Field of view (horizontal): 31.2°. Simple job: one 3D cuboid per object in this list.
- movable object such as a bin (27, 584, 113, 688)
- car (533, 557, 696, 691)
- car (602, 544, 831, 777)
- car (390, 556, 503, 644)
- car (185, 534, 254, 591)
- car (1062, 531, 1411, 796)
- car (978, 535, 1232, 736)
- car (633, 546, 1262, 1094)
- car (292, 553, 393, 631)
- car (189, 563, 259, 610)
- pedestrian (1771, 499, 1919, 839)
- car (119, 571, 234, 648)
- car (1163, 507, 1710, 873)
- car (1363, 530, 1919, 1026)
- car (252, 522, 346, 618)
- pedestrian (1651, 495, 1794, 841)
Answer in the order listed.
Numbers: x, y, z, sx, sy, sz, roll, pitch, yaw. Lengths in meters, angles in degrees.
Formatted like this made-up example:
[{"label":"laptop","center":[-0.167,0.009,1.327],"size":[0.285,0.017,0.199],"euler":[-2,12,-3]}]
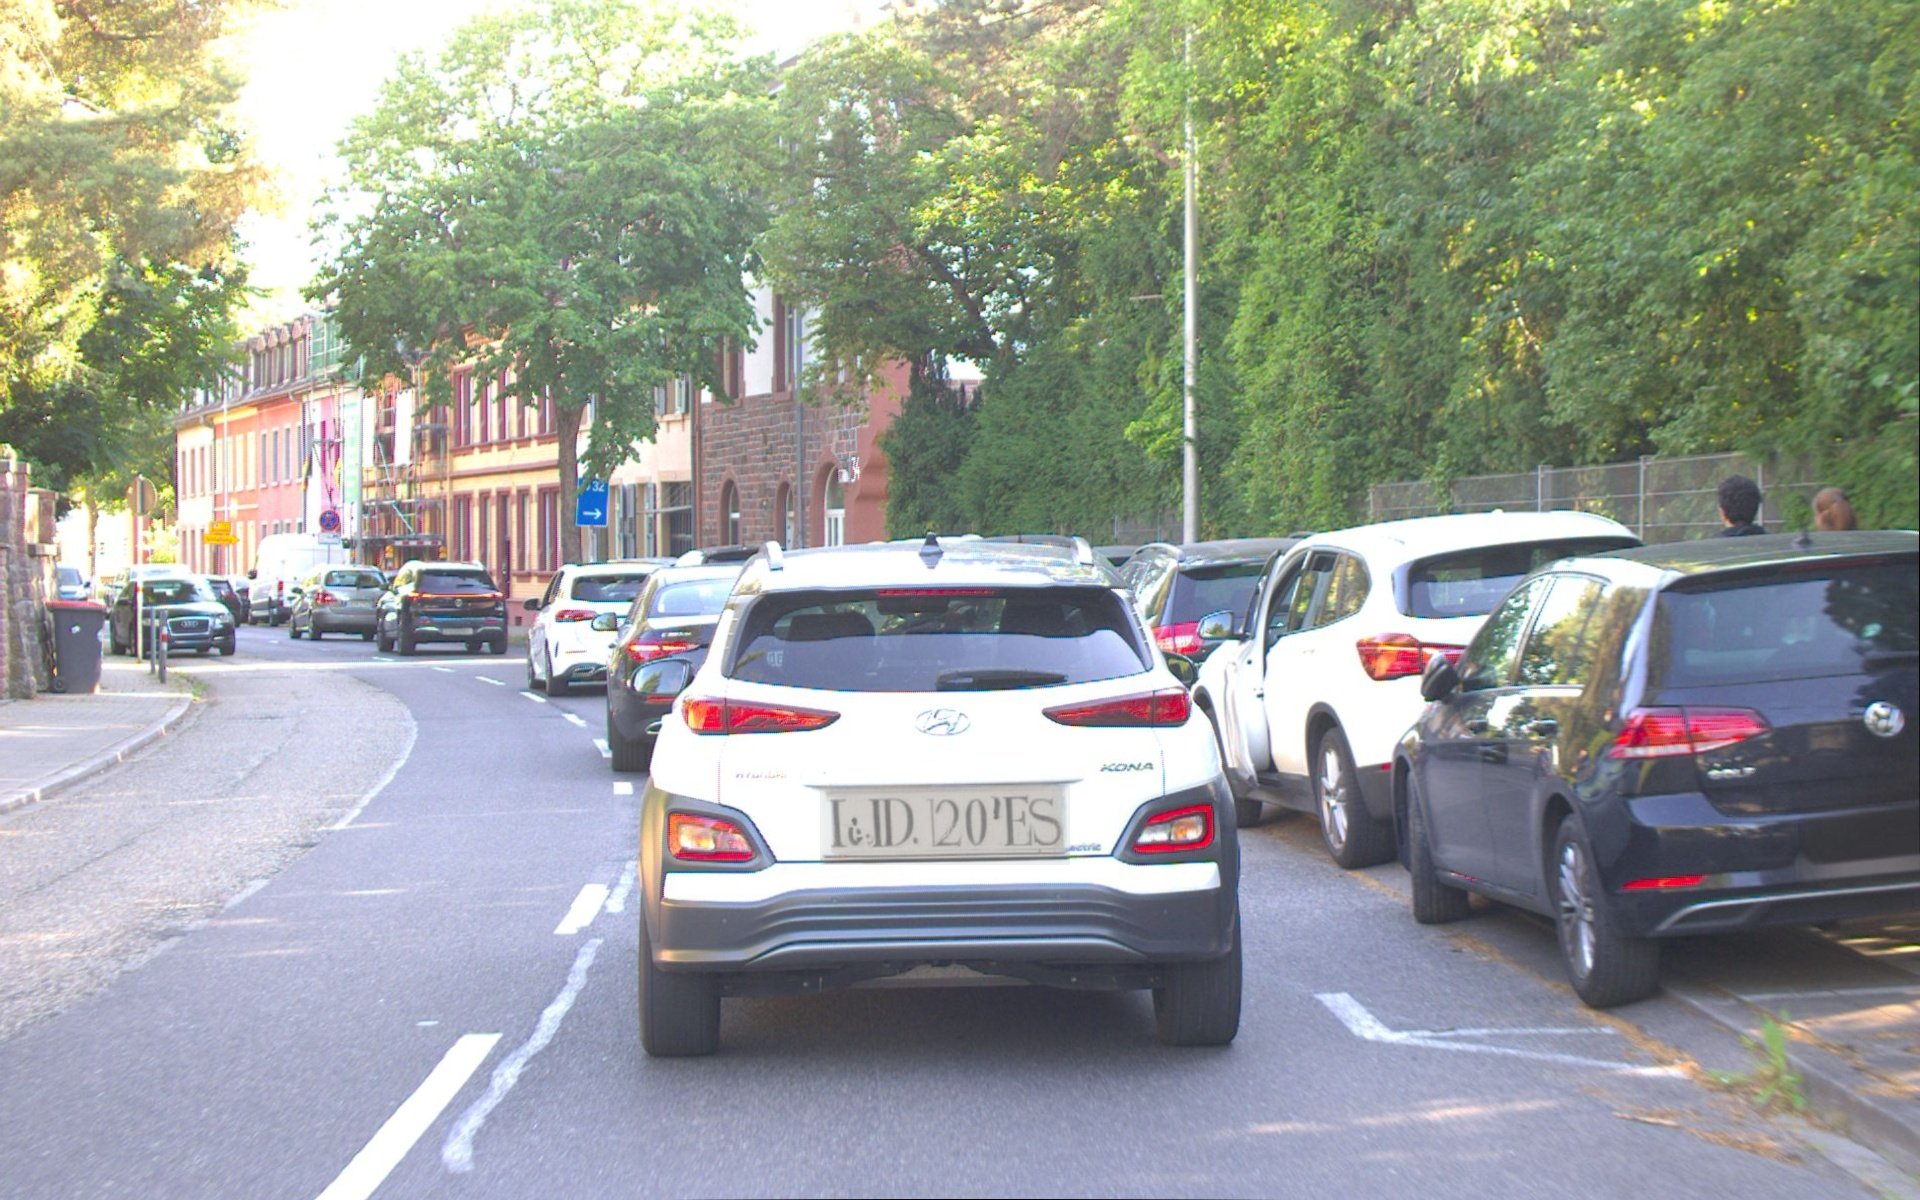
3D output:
[{"label":"movable object such as a bin","center":[-10.332,0.413,39.931],"size":[0.792,1.185,0.773],"euler":[1,0,-2]},{"label":"car","center":[-4.087,0.247,40.279],"size":[1.570,1.472,3.549],"euler":[1,1,-11]},{"label":"car","center":[-1.708,0.375,24.776],"size":[1.511,1.528,3.548],"euler":[-1,1,-2]},{"label":"car","center":[-8.897,-0.015,59.440],"size":[1.592,1.456,3.100],"euler":[-1,1,-14]},{"label":"car","center":[-25.984,-1.318,120.573],"size":[1.717,1.929,4.001],"euler":[-1,1,-21]},{"label":"car","center":[1.726,0.362,22.650],"size":[1.593,1.514,3.933],"euler":[-3,1,-5]},{"label":"car","center":[1.140,0.243,28.538],"size":[1.593,1.484,3.603],"euler":[-3,1,-5]},{"label":"car","center":[-0.108,0.591,11.717],"size":[1.772,1.537,4.000],"euler":[0,1,-2]},{"label":"car","center":[-12.927,-0.181,71.858],"size":[1.589,1.577,3.362],"euler":[-1,1,-18]},{"label":"car","center":[-20.271,-0.383,94.659],"size":[1.526,1.256,3.362],"euler":[-1,1,-18]},{"label":"pedestrian","center":[4.174,0.318,16.236],"size":[0.503,1.564,0.503],"euler":[-3,1,0]},{"label":"car","center":[-13.909,0.153,60.897],"size":[1.592,1.313,3.813],"euler":[0,1,-19]},{"label":"car","center":[2.260,0.387,17.368],"size":[1.593,1.560,4.001],"euler":[-3,1,-9]},{"label":"car","center":[2.652,0.497,12.333],"size":[1.686,1.426,4.001],"euler":[-2,1,-3]},{"label":"car","center":[-18.510,-0.830,96.132],"size":[1.928,2.574,4.395],"euler":[-2,1,-19]},{"label":"pedestrian","center":[3.627,0.314,16.367],"size":[0.503,1.601,0.491],"euler":[-3,1,0]}]
